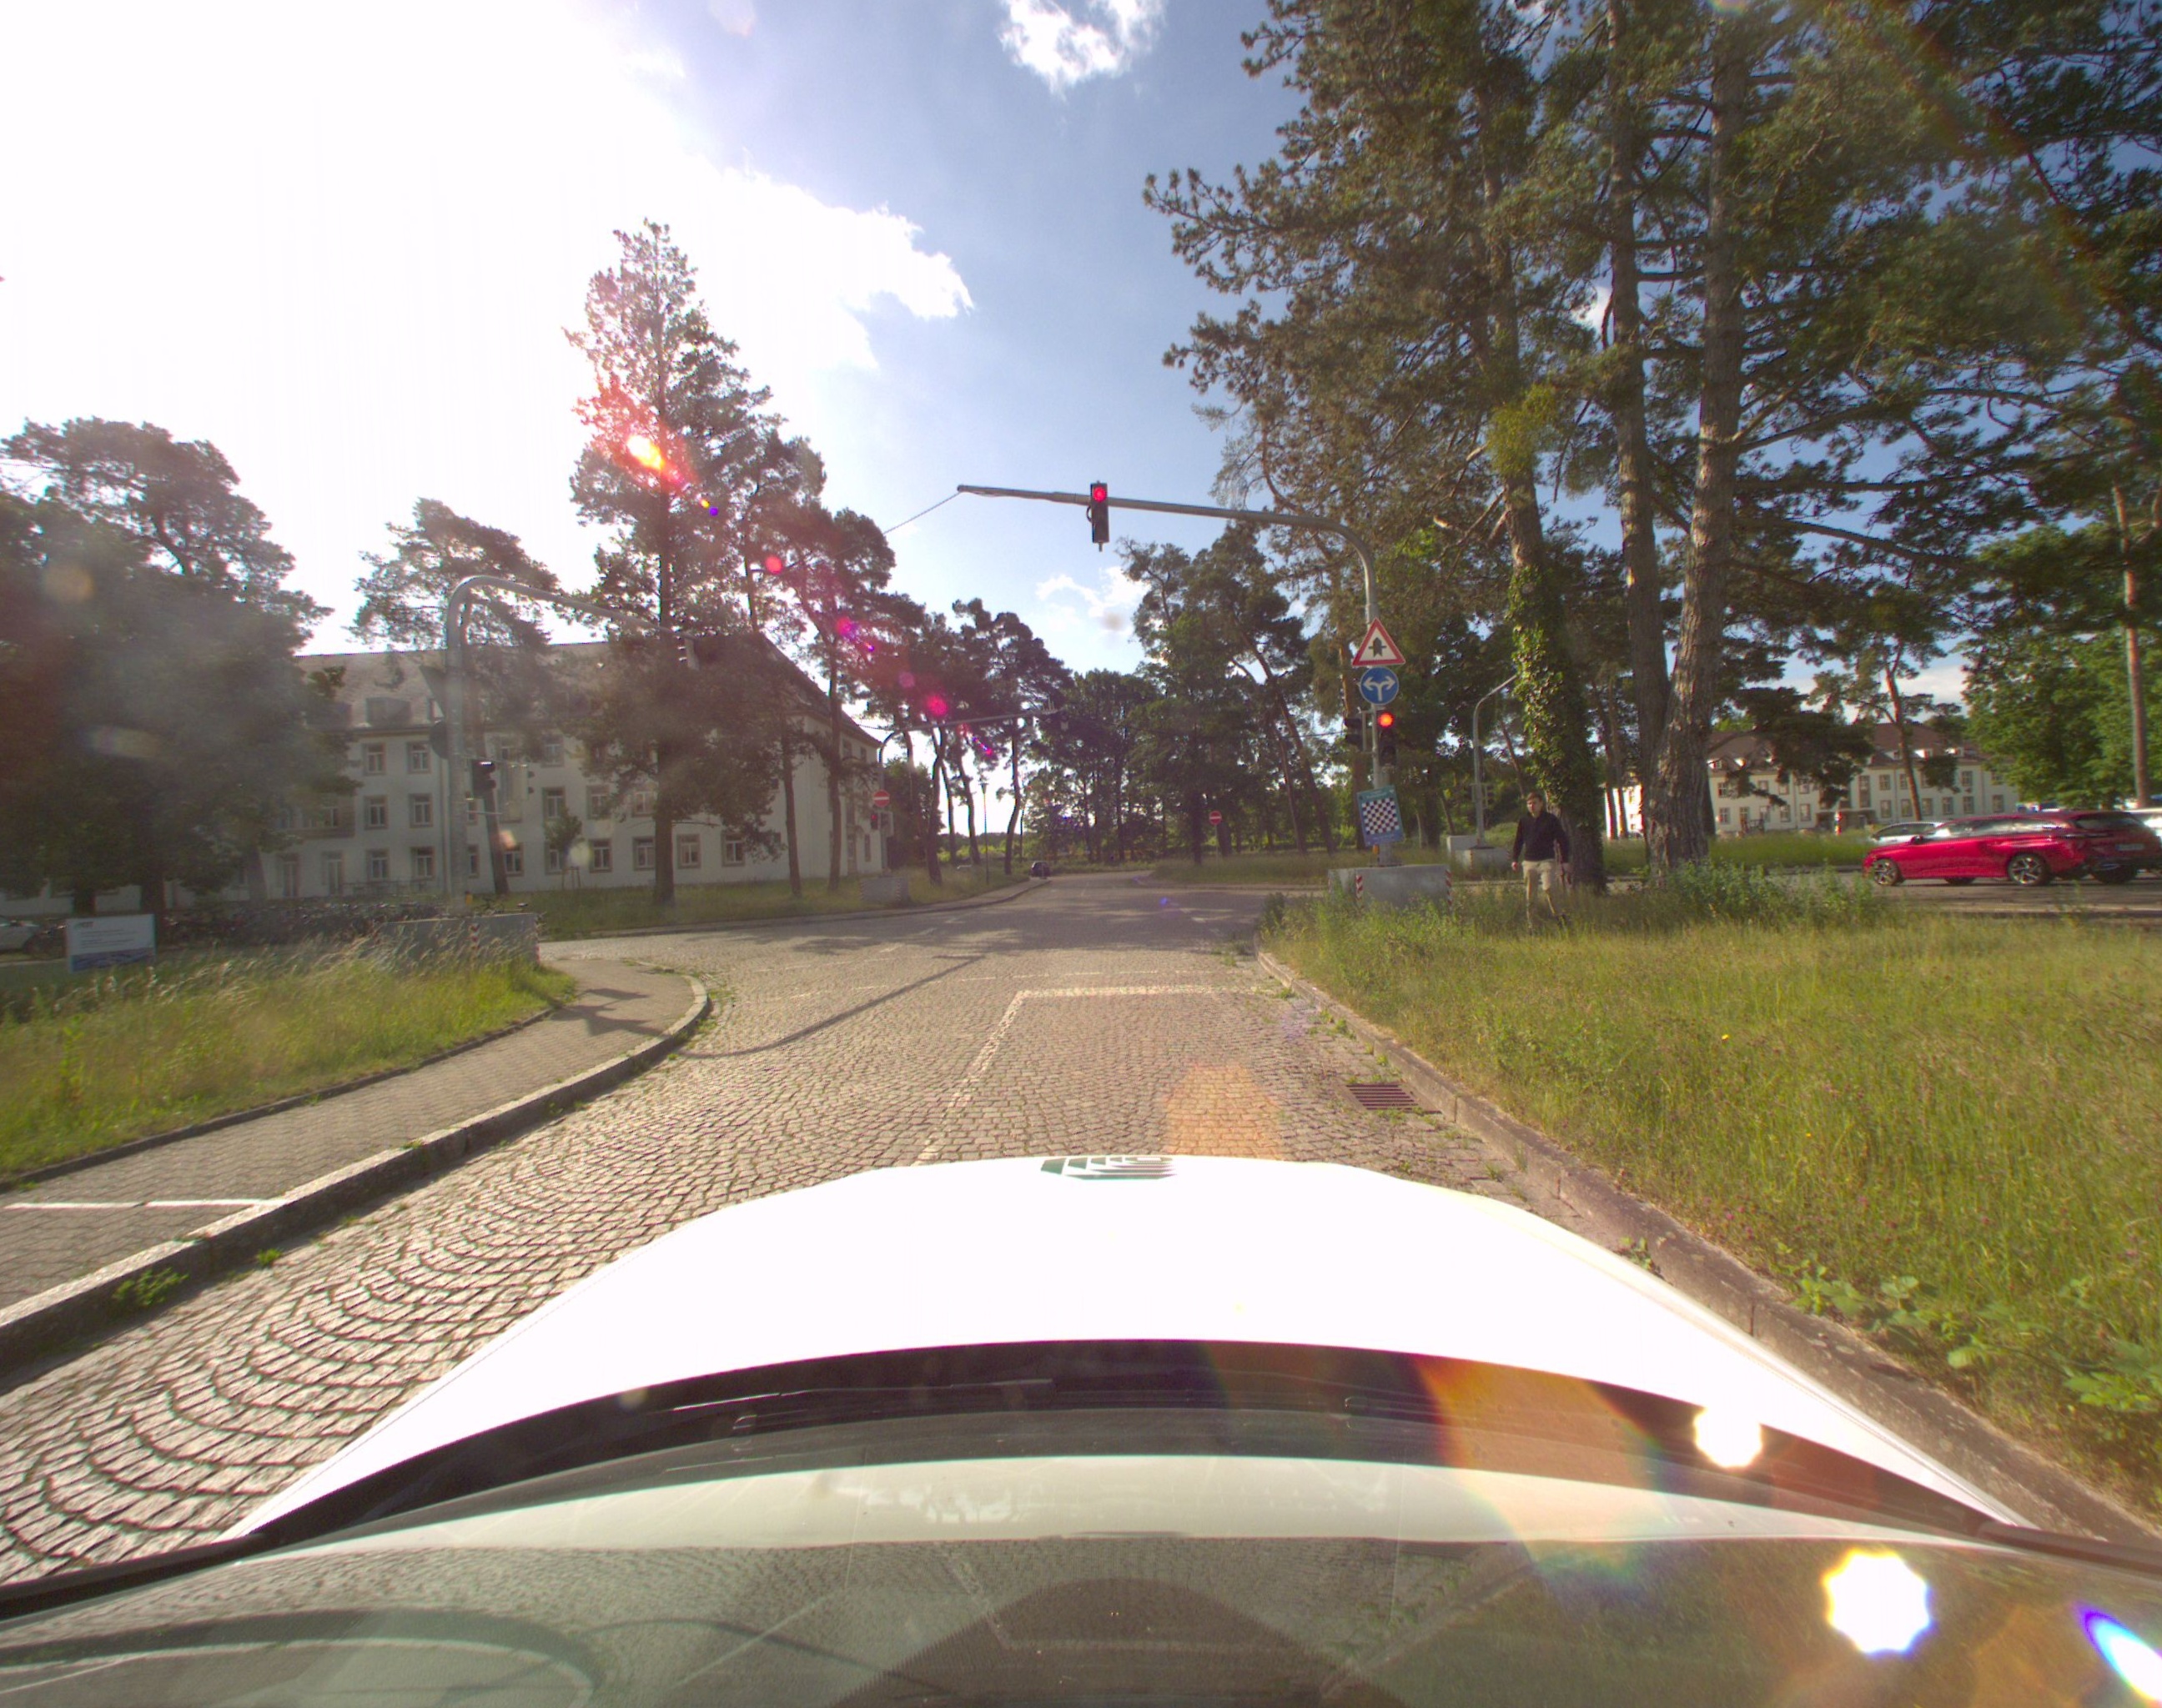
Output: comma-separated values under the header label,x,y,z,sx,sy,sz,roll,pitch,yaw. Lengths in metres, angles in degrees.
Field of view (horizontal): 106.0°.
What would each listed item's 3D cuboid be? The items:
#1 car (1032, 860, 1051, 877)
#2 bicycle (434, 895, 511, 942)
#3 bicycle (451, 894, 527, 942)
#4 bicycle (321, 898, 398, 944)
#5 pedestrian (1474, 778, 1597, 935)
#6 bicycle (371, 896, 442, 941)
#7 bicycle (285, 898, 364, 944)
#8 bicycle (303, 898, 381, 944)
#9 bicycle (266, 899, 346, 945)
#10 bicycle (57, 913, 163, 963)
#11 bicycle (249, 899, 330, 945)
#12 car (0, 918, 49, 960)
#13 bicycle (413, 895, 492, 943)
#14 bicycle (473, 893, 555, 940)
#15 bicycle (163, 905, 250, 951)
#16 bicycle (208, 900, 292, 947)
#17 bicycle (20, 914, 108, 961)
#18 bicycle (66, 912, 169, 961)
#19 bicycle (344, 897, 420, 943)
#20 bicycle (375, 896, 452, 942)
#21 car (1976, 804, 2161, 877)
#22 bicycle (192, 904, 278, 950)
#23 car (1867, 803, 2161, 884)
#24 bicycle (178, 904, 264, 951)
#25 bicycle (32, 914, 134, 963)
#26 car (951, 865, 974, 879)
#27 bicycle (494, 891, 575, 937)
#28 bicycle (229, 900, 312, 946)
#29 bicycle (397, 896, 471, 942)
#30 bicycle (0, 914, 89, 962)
label,x,y,z,sx,sy,sz,roll,pitch,yaw
car,-3.916,1.422,80.681,1.705,1.496,3.917,-3,0,-1
bicycle,-18.037,1.888,24.206,0.631,1.220,2.124,-3,0,1
bicycle,-17.553,1.873,24.214,0.631,1.220,2.114,-3,0,1
bicycle,-21.965,2.004,24.842,0.512,1.220,1.977,-3,0,1
pedestrian,5.644,0.043,10.086,1.157,1.796,1.070,-3,0,34
bicycle,-20.799,1.971,25.160,0.546,1.220,1.900,-3,0,1
bicycle,-23.008,2.027,24.806,0.512,1.220,1.954,-3,0,1
bicycle,-22.482,2.015,24.838,0.512,1.220,1.977,-3,0,1
bicycle,-23.563,2.043,24.819,0.512,1.220,1.937,-3,0,1
bicycle,-27.616,2.363,23.208,1.837,1.220,0.510,-3,0,-35
bicycle,-24.108,2.059,24.843,0.512,1.220,1.937,-3,0,1
car,-34.078,2.710,24.433,1.504,1.211,3.596,-3,0,3
bicycle,-18.640,1.905,24.215,0.631,1.220,2.104,-3,0,1
bicycle,-16.311,1.790,23.450,1.855,1.220,0.635,-3,0,0
bicycle,-26.647,2.224,24.867,0.512,1.220,1.937,-3,0,1
bicycle,-25.311,2.094,24.853,0.512,1.220,1.937,-3,0,1
bicycle,-30.452,2.473,24.429,0.514,1.220,1.823,-3,0,-9
bicycle,-28.005,2.369,23.718,1.837,1.220,0.510,-3,0,-35
bicycle,-21.316,1.985,24.887,0.512,1.220,2.016,-3,0,1
bicycle,-20.234,1.955,24.736,0.576,1.220,2.029,-3,0,1
car,21.666,-0.284,16.736,1.773,1.379,4.239,-3,-2,0
bicycle,-25.770,2.199,24.857,0.512,1.220,1.937,-3,0,1
car,18.790,-0.153,16.569,1.649,1.399,4.130,-2,-1,1
bicycle,-26.199,2.211,24.859,0.512,1.220,1.937,-3,0,1
bicycle,-29.115,2.441,23.777,0.509,1.220,1.841,-3,0,38
car,-11.801,1.757,81.514,1.705,1.274,3.917,-3,0,-1
bicycle,-16.196,1.768,24.164,1.938,1.220,0.635,-3,0,0
bicycle,-24.701,2.076,24.863,0.512,1.220,1.937,-3,0,1
bicycle,-19.489,1.931,24.604,0.570,1.220,1.990,-3,0,1
bicycle,-31.058,2.490,24.414,0.513,1.220,1.824,-3,0,-7
